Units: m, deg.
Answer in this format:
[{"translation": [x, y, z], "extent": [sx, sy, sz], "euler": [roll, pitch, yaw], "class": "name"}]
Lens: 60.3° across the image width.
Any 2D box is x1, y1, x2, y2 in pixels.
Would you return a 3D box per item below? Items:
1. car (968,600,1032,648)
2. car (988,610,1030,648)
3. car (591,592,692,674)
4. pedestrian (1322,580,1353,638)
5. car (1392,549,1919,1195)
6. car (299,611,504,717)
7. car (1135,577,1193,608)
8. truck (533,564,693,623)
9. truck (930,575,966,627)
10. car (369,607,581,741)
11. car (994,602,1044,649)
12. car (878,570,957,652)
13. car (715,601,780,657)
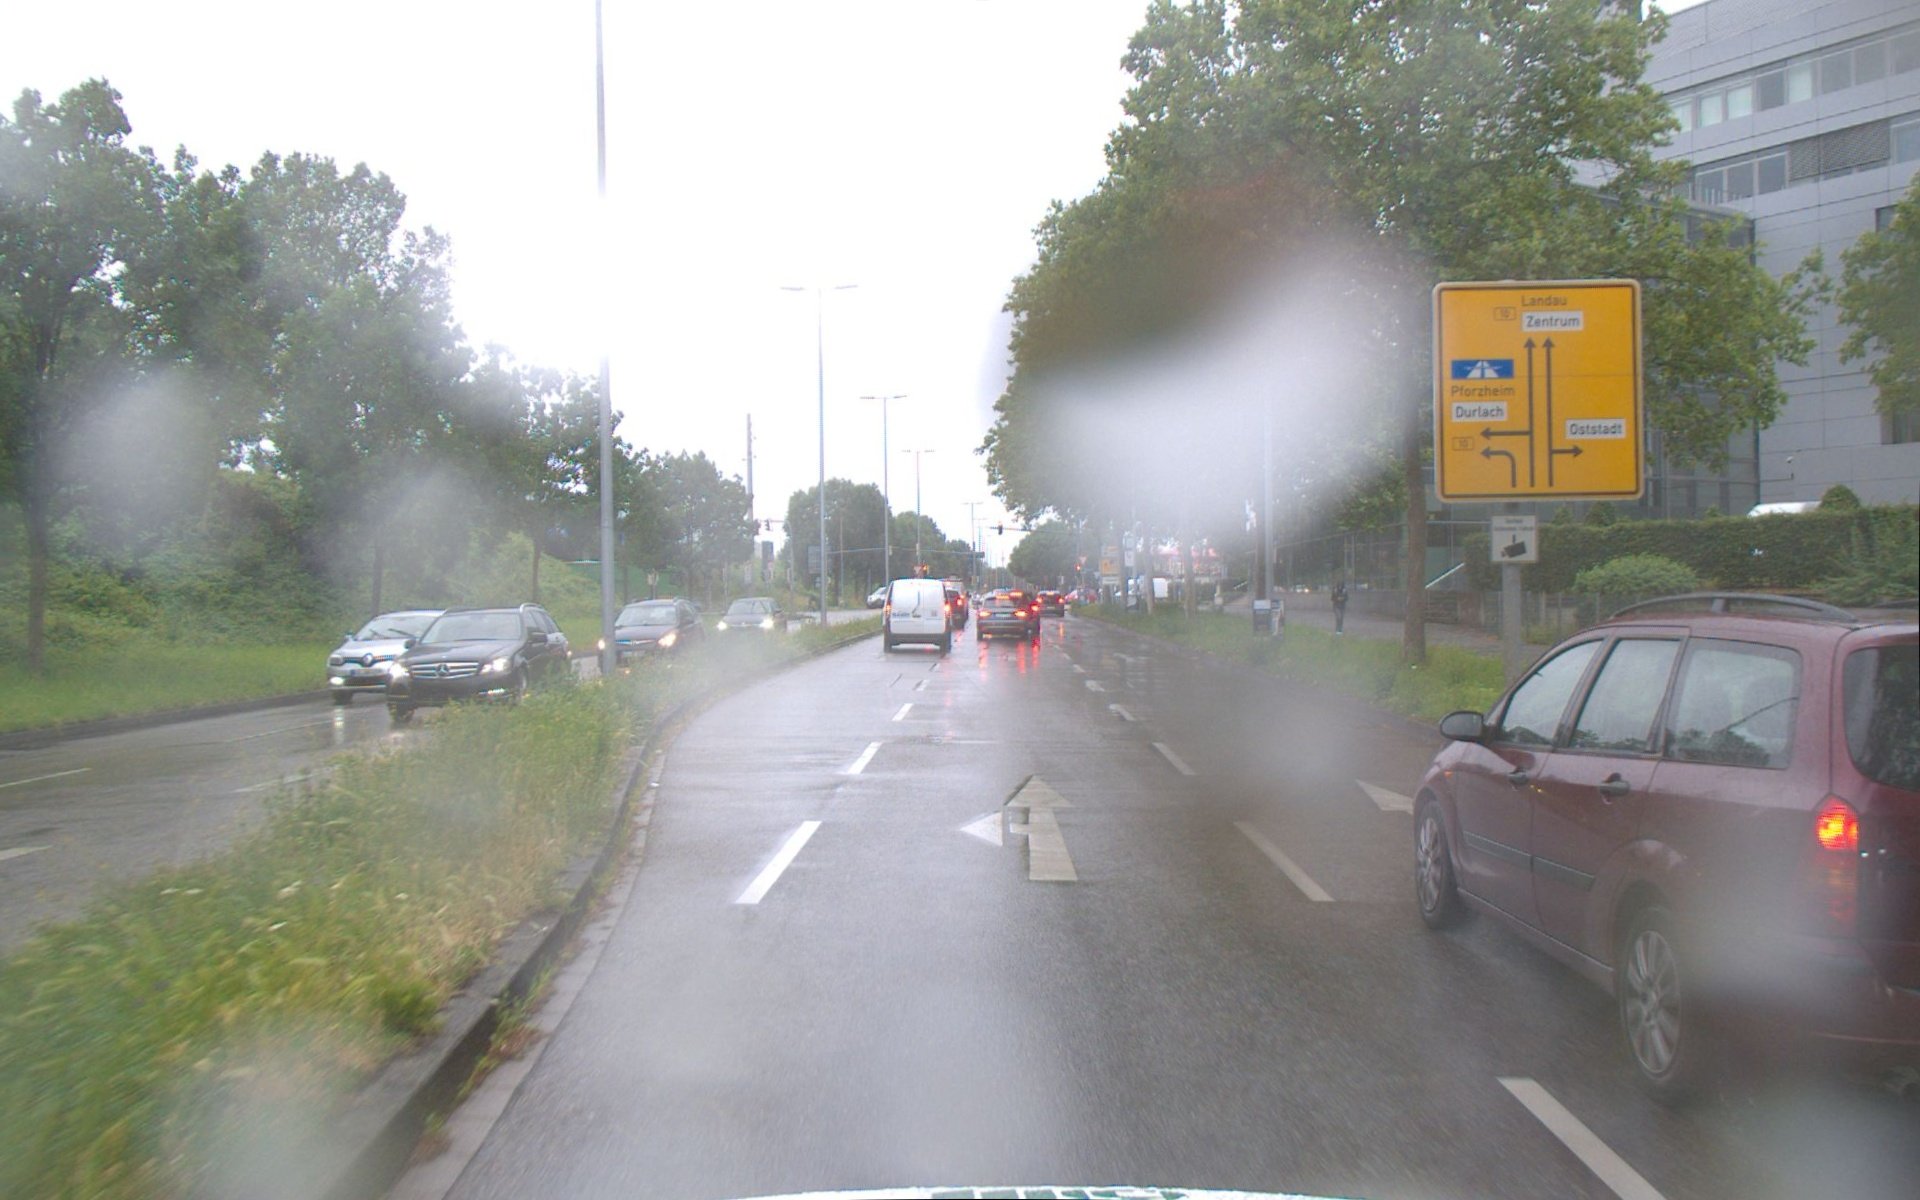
[{"translation": [1.248, 0.773, 53.566], "extent": [1.953, 1.478, 3.999], "euler": [0, -1, 0], "class": "car"}, {"translation": [2.002, 1.158, 68.060], "extent": [1.676, 1.470, 4.001], "euler": [0, 0, 1], "class": "car"}, {"translation": [-6.843, 0.666, 35.870], "extent": [1.789, 1.602, 4.353], "euler": [-2, 1, -7], "class": "car"}, {"translation": [11.873, 0.275, 52.018], "extent": [0.651, 1.793, 1.075], "euler": [0, 0, -5], "class": "pedestrian"}, {"translation": [3.010, 0.686, 6.075], "extent": [1.801, 1.563, 4.111], "euler": [0, -1, 0], "class": "car"}, {"translation": [-9.834, 1.063, 29.532], "extent": [1.869, 1.601, 4.709], "euler": [-4, 0, 1], "class": "car"}, {"translation": [20.098, -0.719, 162.977], "extent": [5.951, 2.792, 1.975], "euler": [1, -2, -35], "class": "car"}, {"translation": [-22.441, -0.346, 107.340], "extent": [10.027, 3.513, 2.625], "euler": [1, -2, -36], "class": "truck"}, {"translation": [-0.586, 0.056, 81.881], "extent": [1.720, 2.510, 3.999], "euler": [0, -1, 0], "class": "truck"}, {"translation": [-6.646, 0.953, 23.197], "extent": [1.871, 1.601, 4.704], "euler": [-3, 0, -5], "class": "car"}, {"translation": [2.101, 0.892, 59.887], "extent": [1.673, 1.577, 4.000], "euler": [0, 1, 0], "class": "car"}, {"translation": [-1.047, 0.332, 42.952], "extent": [1.953, 2.049, 3.999], "euler": [0, -2, 0], "class": "car"}, {"translation": [-6.624, 0.884, 51.888], "extent": [1.686, 1.646, 4.343], "euler": [0, 0, -3], "class": "car"}]
